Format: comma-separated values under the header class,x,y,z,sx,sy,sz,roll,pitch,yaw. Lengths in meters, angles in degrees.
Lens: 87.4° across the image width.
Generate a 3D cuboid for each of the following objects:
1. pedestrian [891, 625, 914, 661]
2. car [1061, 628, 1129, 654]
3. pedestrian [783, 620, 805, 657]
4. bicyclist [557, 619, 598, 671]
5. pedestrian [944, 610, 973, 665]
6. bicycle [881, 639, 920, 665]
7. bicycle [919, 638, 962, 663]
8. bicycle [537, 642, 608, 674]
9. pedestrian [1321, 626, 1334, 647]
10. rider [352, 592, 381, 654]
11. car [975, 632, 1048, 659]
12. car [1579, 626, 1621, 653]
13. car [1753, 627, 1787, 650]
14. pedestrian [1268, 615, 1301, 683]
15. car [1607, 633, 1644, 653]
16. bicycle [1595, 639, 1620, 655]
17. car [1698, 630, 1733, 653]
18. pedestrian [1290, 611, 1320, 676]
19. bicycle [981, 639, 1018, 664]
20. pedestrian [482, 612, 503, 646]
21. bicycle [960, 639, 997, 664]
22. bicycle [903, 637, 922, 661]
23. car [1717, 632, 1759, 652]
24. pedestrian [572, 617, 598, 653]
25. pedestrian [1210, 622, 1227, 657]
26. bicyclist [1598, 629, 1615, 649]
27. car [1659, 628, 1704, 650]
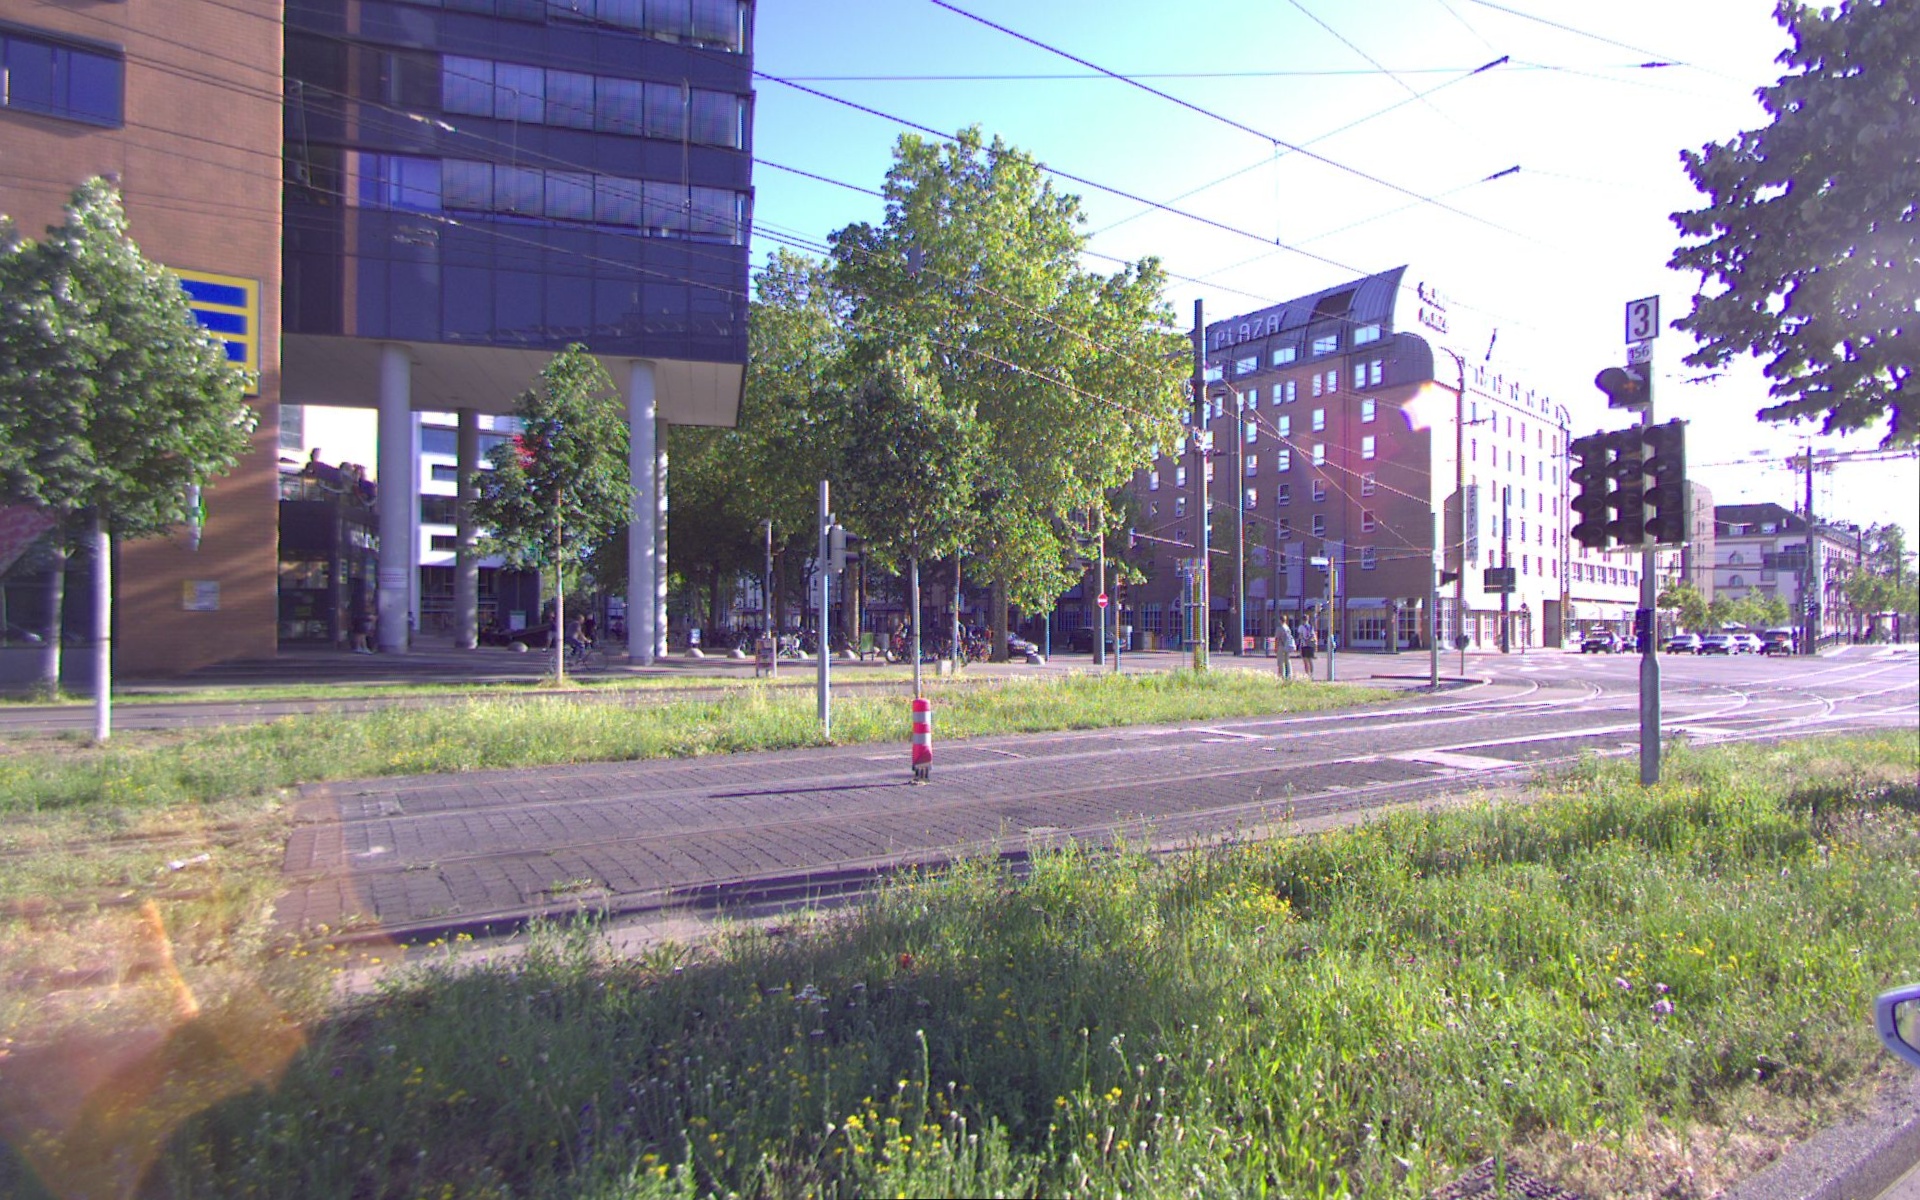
class,x,y,z,sx,sy,sz,roll,pitch,yaw
pedestrian,-2.671,1.994,46.804,0.827,1.619,0.730,1,0,-27
car,7.856,2.393,58.736,1.744,1.439,3.958,1,-1,-37
pedestrian,-7.624,1.759,46.064,0.827,1.667,0.730,1,-1,-27
bicyclist,-11.305,1.318,29.678,1.006,1.484,0.674,1,-1,-34
pedestrian,-0.065,1.421,38.404,0.827,2.040,0.730,1,0,-27
bicycle,-2.397,2.083,40.448,1.747,0.964,0.538,-1,-1,45
bicycle,-0.781,2.017,40.344,1.741,0.964,0.540,0,-1,33
bicycle,-11.414,1.697,29.607,1.869,0.923,0.495,1,-1,-34
pedestrian,26.843,2.657,73.362,0.652,1.523,0.671,1,-1,-34
rider,-17.928,0.690,30.354,0.704,1.826,0.714,1,-1,-30
car,2.664,2.357,52.839,1.978,1.283,3.966,1,-1,-32
car,50.552,3.107,79.357,3.974,2.040,1.974,2,-2,-45
car,57.619,2.723,71.424,1.725,1.524,3.860,-1,-2,41
pedestrian,9.099,1.364,28.146,0.657,1.854,0.627,1,-1,-37
car,55.728,3.577,84.101,3.974,1.530,1.866,2,-2,-45
bicycle,46.159,3.363,71.564,2.902,1.099,0.644,1,-1,-40
car,53.430,2.930,71.026,1.725,1.524,3.860,-1,-2,41
pedestrian,9.857,1.235,28.715,0.657,1.841,0.559,1,-1,-37
bicycle,1.603,2.117,41.366,0.536,0.964,1.752,1,-1,-37
pedestrian,-24.229,1.504,52.051,0.794,1.730,0.789,1,0,-14
bicycle,0.737,2.097,41.060,0.536,0.964,1.752,1,-1,-37
bicycle,-1.968,2.041,41.961,0.530,0.964,1.772,0,-1,5
car,60.466,3.265,78.007,3.961,1.468,1.562,1,-1,-36
pedestrian,-18.763,1.746,50.264,1.091,1.730,0.789,1,0,-14
pedestrian,14.938,2.279,58.058,0.670,2.040,0.662,1,-1,-30
bicyclist,45.996,2.739,71.438,0.943,1.393,0.751,1,-1,-39
car,54.710,2.958,76.133,4.707,1.617,1.974,2,-2,-45
